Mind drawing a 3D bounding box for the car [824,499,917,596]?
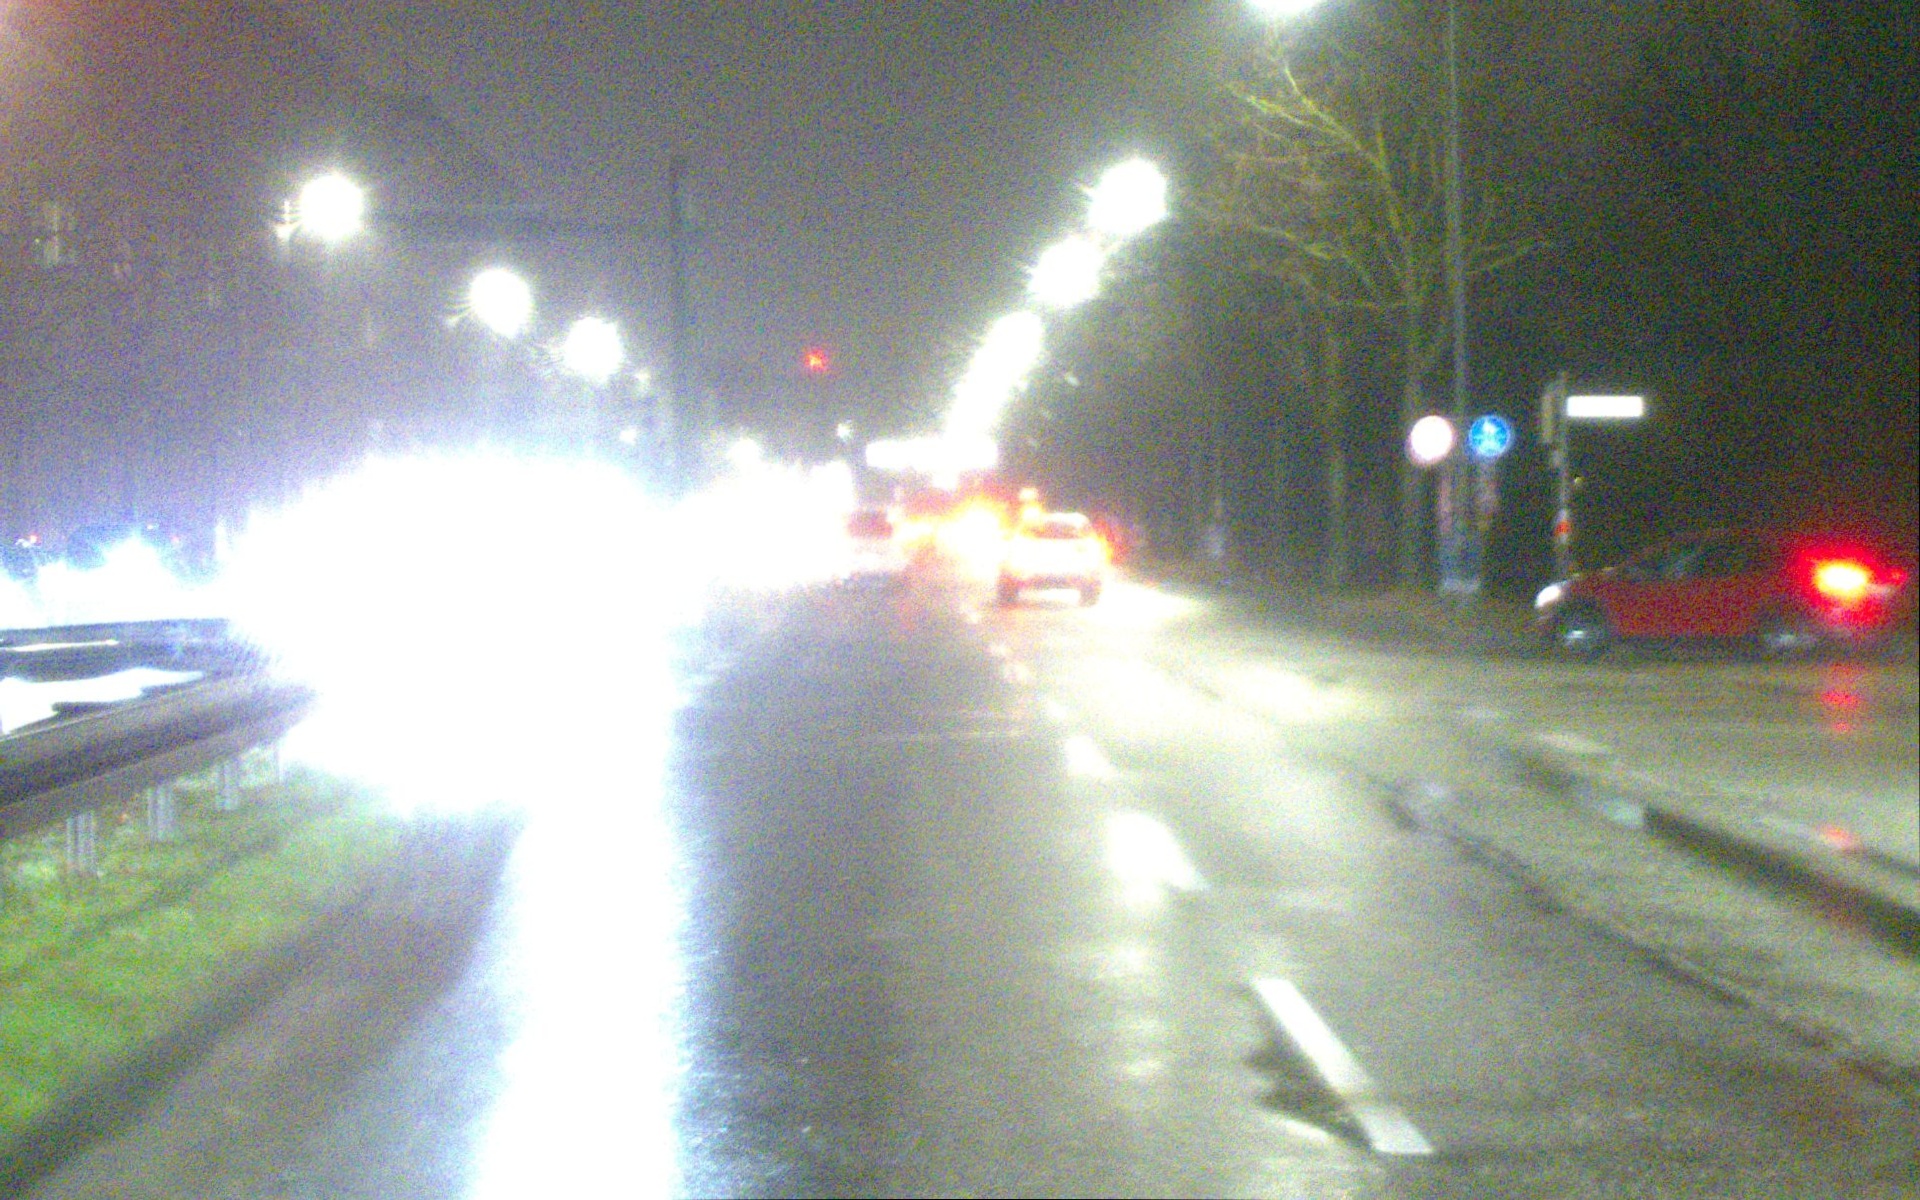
[{"bbox_3d":[-1.810,-1.048,69.727,1.791,1.868,4.627,1,1,-1],"label":"car"}]

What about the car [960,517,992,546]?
[{"bbox_3d":[1.010,-4.397,220.779,1.993,1.753,4.000,1,1,-1],"label":"car"}]

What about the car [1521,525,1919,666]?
[{"bbox_3d":[8.603,-0.072,38.659,4.148,1.482,1.793,1,1,35],"label":"car"}]

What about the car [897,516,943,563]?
[{"bbox_3d":[-1.644,-2.445,139.912,1.791,1.868,4.627,1,1,-1],"label":"car"}]

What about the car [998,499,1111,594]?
[{"bbox_3d":[1.721,-0.986,63.880,1.791,1.673,4.429,1,1,-2],"label":"car"}]
